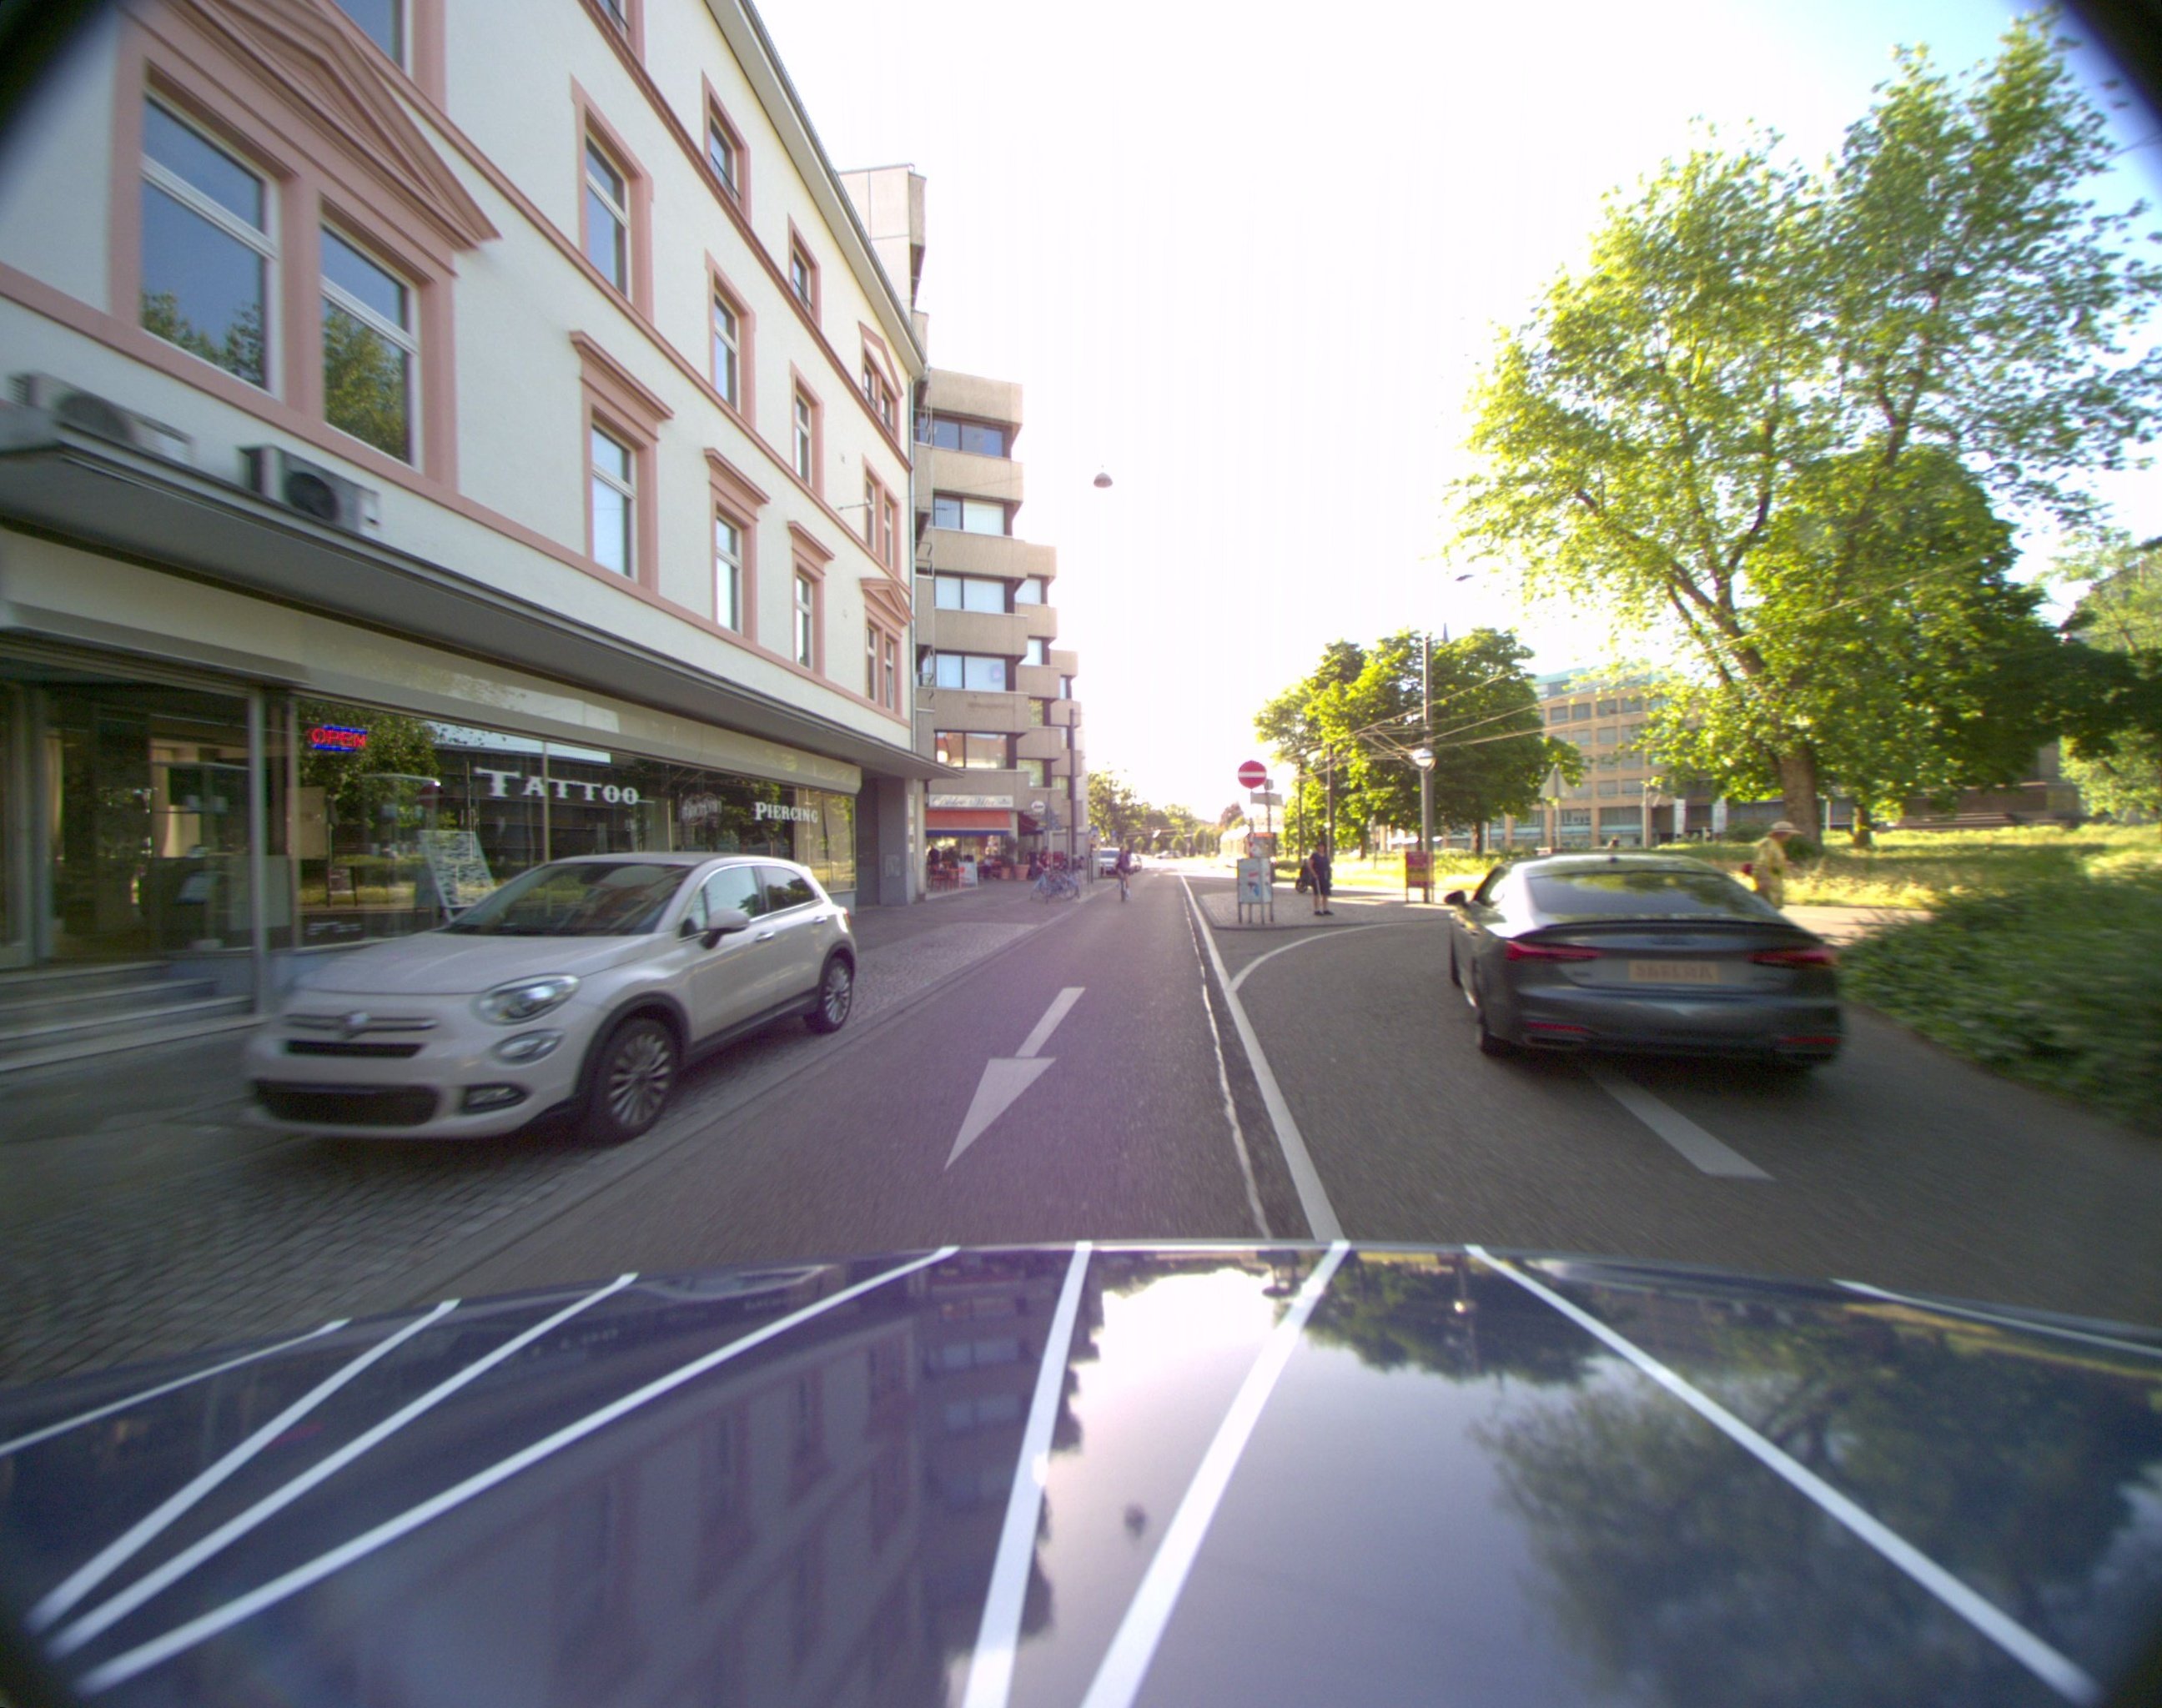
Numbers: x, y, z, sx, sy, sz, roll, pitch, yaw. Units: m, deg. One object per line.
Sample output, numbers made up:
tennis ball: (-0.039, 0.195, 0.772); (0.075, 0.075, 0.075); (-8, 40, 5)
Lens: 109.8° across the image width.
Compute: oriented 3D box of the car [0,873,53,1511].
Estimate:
car: (-3.798, 0.904, 0.210); (1.702, 1.595, 3.758); (-1, 1, 8)

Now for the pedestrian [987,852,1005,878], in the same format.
pedestrian: (-4.274, 0.567, 38.296); (0.844, 1.285, 0.830); (1, 2, -5)

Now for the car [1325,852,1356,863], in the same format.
car: (42.089, 0.588, 123.435); (2.108, 1.724, 5.077); (-1, 0, -19)

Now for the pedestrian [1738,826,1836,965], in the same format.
pedestrian: (9.137, 0.505, 9.840); (0.671, 1.689, 0.803); (-3, 2, -35)

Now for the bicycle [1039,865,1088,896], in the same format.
bicycle: (-0.633, 0.932, 26.706); (1.681, 1.056, 0.344); (-2, 2, 23)

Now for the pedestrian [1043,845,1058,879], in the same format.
pedestrian: (-1.607, 0.420, 39.910); (0.584, 1.705, 0.698); (-2, 2, 10)

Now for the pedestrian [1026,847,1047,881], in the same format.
pedestrian: (-2.284, 0.522, 39.039); (0.845, 1.700, 0.718); (1, 1, -21)

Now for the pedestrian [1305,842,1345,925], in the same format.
pedestrian: (5.096, 0.601, 15.887); (0.637, 1.663, 0.693); (-2, 2, 7)

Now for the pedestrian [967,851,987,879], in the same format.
pedestrian: (-5.227, 0.551, 38.103); (0.844, 1.394, 0.830); (-1, 0, -18)

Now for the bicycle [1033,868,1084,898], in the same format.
bicycle: (-0.790, 1.003, 26.358); (1.705, 0.998, 0.428); (-2, 2, 23)

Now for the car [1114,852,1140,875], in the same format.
car: (3.789, 0.732, 61.619); (1.855, 1.679, 3.868); (-2, 1, 6)

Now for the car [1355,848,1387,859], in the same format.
car: (44.681, -0.062, 117.161); (2.001, 1.508, 4.654); (-3, 1, -19)

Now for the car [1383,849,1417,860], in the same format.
car: (51.404, 0.025, 122.413); (2.126, 1.659, 5.202); (-3, 1, -18)

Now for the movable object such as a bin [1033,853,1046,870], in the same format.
movable object such as a bin: (-3.597, 0.642, 65.992); (0.794, 1.375, 0.853); (-2, 2, 15)

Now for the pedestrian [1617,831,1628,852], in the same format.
pedestrian: (43.292, -0.995, 60.743); (0.553, 1.606, 0.676); (-1, 2, 45)

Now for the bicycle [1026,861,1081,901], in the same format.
bicycle: (-0.900, 0.882, 24.894); (1.622, 1.236, 0.660); (-2, 2, 27)

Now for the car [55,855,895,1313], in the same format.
car: (-3.146, 0.961, 5.600); (1.749, 1.729, 4.962); (-2, 1, 7)

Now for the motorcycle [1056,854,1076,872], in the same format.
motorcycle: (-1.059, 0.616, 53.955); (0.765, 1.148, 2.049); (2, 2, 17)

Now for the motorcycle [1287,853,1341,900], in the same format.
motorcycle: (7.361, 0.682, 24.081); (0.748, 1.366, 1.758); (-3, 1, -16)

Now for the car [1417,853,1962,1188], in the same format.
car: (3.942, 0.795, 6.074); (1.913, 1.409, 4.816); (-2, 1, 20)

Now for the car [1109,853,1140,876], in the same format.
car: (3.212, 0.754, 55.157); (1.777, 1.445, 4.733); (-2, 1, 9)

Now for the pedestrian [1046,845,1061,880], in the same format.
pedestrian: (-1.465, 0.453, 40.611); (0.672, 1.846, 0.611); (2, 2, 10)

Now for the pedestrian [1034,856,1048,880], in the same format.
pedestrian: (-2.146, 0.760, 40.724); (0.631, 1.229, 0.625); (1, 2, 10)

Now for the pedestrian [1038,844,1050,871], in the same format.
pedestrian: (-2.576, 0.225, 52.676); (0.706, 1.805, 0.716); (-3, 2, -10)

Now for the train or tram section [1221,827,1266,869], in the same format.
train or tram section: (15.450, -0.525, 73.226); (2.955, 3.591, 13.641); (-1, 0, 7)

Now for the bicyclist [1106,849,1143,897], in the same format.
bicyclist: (1.424, 0.595, 24.695); (1.039, 1.475, 0.989); (-2, 2, 12)

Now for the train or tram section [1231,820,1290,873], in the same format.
train or tram section: (13.947, -0.530, 60.178); (2.955, 3.663, 13.190); (-1, 0, 7)

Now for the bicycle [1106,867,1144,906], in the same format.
bicycle: (1.455, 1.040, 24.869); (0.887, 1.129, 2.230); (-2, 1, 12)

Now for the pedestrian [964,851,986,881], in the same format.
pedestrian: (-5.170, 0.583, 37.194); (0.845, 1.394, 0.752); (-3, 0, -23)

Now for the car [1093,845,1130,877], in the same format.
car: (1.994, 0.401, 48.215); (1.997, 1.802, 4.310); (-2, 1, 6)

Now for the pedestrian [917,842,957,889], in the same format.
pedestrian: (-5.592, 0.438, 29.529); (1.020, 1.733, 1.137); (-2, 2, 20)
